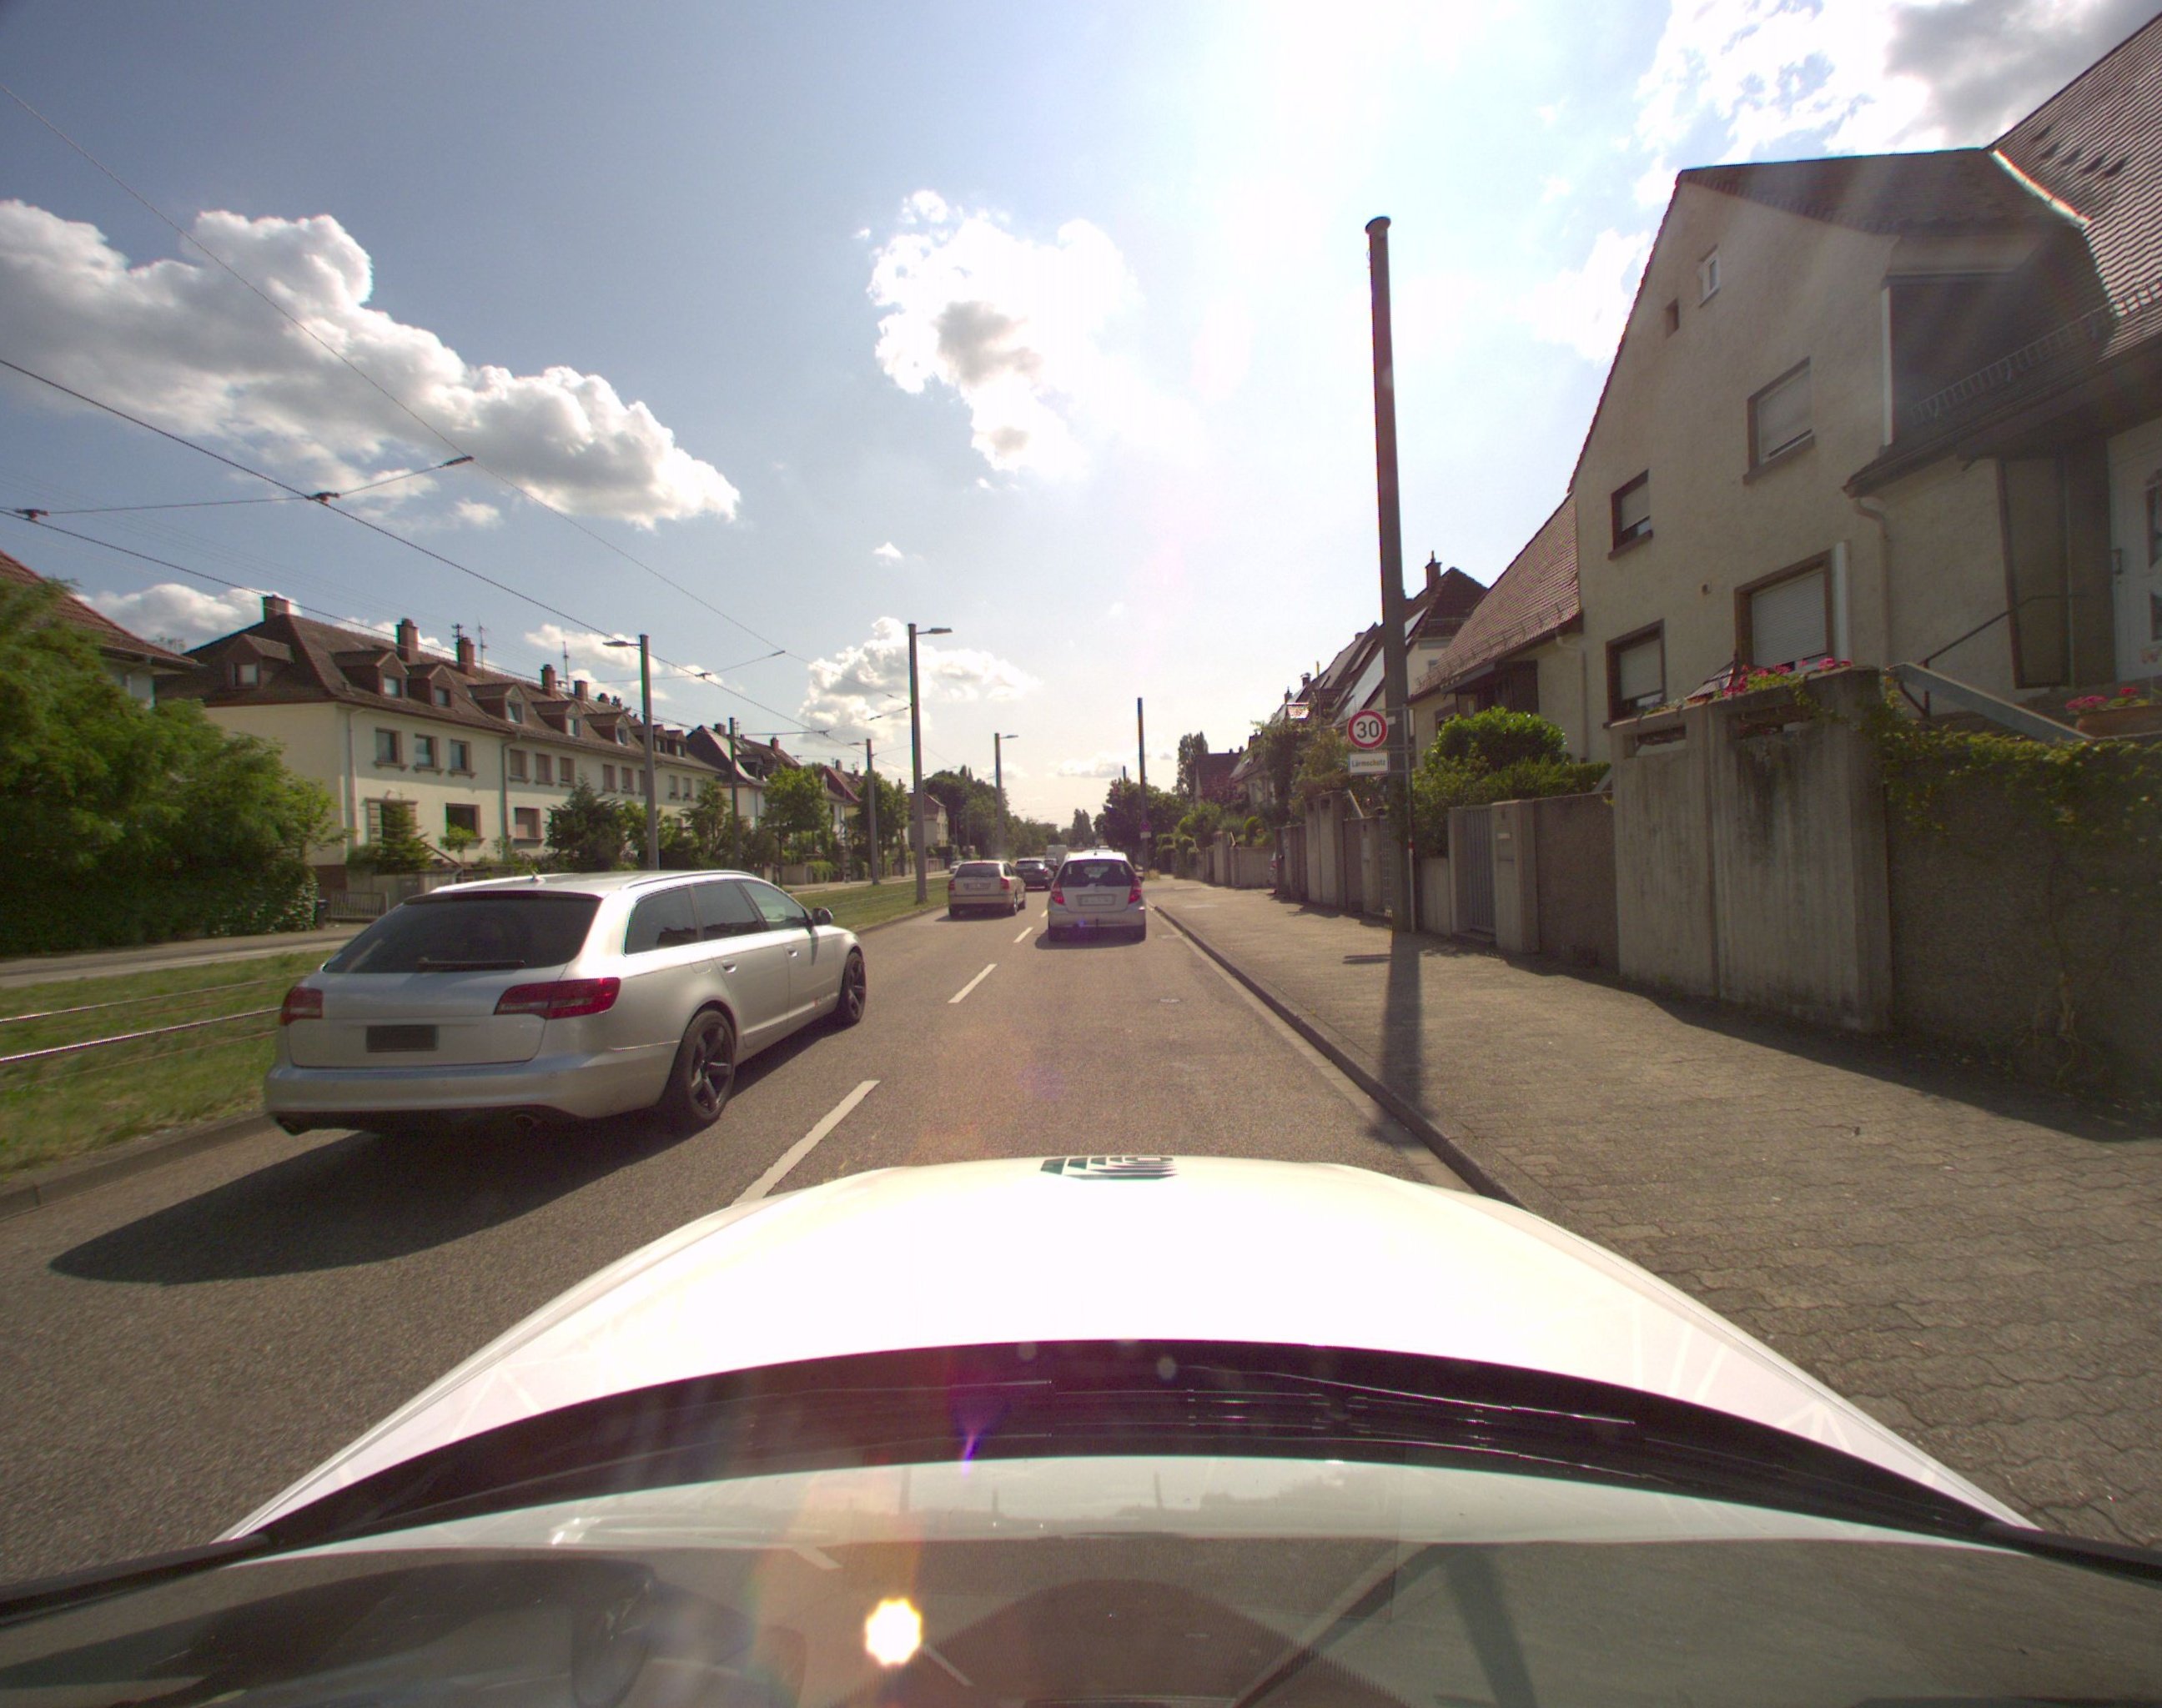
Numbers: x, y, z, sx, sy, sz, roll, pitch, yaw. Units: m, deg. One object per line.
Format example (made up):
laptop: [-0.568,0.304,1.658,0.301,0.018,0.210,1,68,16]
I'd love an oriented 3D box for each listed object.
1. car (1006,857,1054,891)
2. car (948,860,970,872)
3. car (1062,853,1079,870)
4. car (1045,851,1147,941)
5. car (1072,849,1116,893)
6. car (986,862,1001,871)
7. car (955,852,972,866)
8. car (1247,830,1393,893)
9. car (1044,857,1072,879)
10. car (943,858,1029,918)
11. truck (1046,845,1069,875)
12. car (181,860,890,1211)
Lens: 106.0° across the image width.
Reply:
car: [-2.322,0.885,38.146,1.910,1.477,4.562,-1,0,0]
car: [-15.900,1.544,106.311,1.908,1.477,4.566,-1,0,3]
car: [-1.315,0.924,104.412,1.908,2.077,4.566,-1,0,3]
car: [0.271,0.720,15.948,1.724,1.517,4.016,-1,0,0]
car: [0.493,0.681,34.703,1.725,1.762,4.015,-1,0,-1]
car: [-15.220,2.142,141.484,1.908,1.477,4.566,-1,0,3]
car: [-20.238,0.906,140.386,1.908,2.330,4.566,-1,0,3]
car: [7.547,0.229,26.016,3.977,1.684,1.998,-4,0,-3]
car: [-1.539,0.921,55.918,1.846,1.388,4.513,-1,0,0]
car: [-2.483,0.850,22.244,1.724,1.449,4.124,-1,0,2]
truck: [-2.049,0.504,72.145,1.846,2.552,5.853,-1,0,0]
car: [-2.934,0.807,5.896,1.787,1.472,4.724,-1,0,2]
